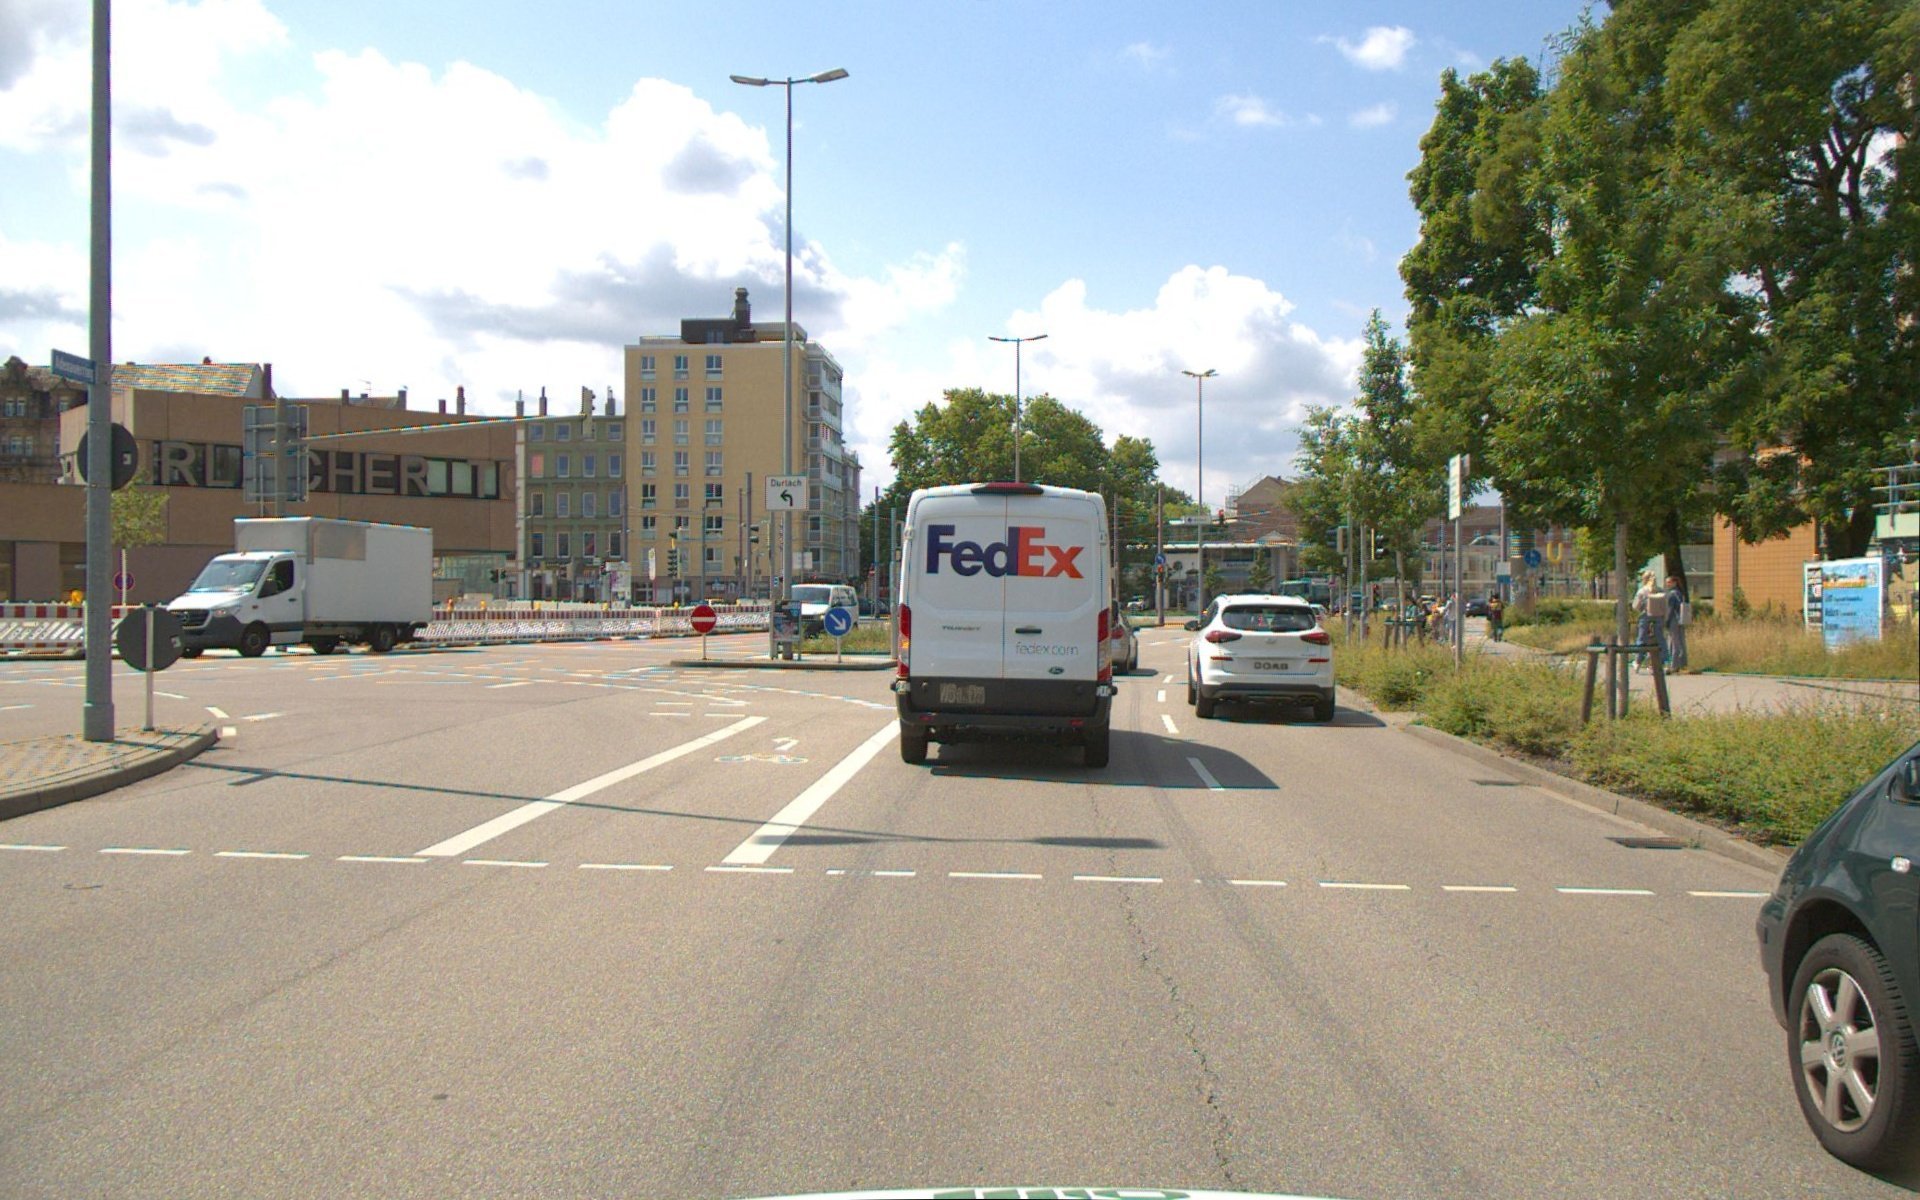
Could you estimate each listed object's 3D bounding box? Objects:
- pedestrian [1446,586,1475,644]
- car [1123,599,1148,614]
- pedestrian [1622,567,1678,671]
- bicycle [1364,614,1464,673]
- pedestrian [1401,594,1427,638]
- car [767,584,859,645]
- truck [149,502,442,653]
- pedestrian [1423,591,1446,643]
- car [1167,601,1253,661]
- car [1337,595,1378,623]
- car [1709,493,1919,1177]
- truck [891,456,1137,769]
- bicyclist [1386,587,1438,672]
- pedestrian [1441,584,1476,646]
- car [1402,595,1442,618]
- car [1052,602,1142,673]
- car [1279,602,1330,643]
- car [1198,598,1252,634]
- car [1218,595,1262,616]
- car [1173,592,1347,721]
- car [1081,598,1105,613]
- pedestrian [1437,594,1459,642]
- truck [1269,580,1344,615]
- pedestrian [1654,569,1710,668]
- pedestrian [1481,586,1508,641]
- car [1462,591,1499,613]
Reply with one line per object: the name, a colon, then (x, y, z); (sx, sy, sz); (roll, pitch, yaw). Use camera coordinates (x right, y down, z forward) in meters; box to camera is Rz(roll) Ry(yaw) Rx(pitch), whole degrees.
pedestrian: (16.185, 0.482, 53.492); (0.740, 1.853, 0.638); (1, -1, 4)
car: (20.013, 0.714, 188.312); (1.952, 1.601, 4.180); (1, -1, 18)
pedestrian: (12.493, 0.337, 29.954); (0.734, 1.834, 0.610); (-1, 0, 3)
bicycle: (8.957, 0.862, 32.661); (1.772, 1.068, 0.592); (-3, -2, 3)
pedestrian: (16.864, 0.598, 61.416); (0.740, 1.617, 0.761); (1, -1, -2)
car: (-4.779, 0.447, 54.327); (1.841, 1.927, 4.874); (0, 0, 9)
truck: (-14.947, -0.403, 37.918); (1.952, 3.121, 7.333); (1, -1, 17)
pedestrian: (15.373, 0.561, 53.584); (0.575, 1.654, 0.728); (1, -1, 4)
car: (6.394, 0.768, 42.669); (1.875, 1.445, 3.920); (0, 0, 4)
car: (24.722, 0.556, 102.826); (1.843, 1.670, 3.956); (0, 0, 23)
car: (3.377, 0.633, 3.176); (1.758, 1.753, 4.447); (2, 0, -1)
truck: (0.506, 0.123, 17.349); (2.093, 2.686, 5.917); (1, 0, 1)
bicyclist: (8.926, 0.576, 32.669); (0.810, 1.629, 0.580); (-3, -2, 3)
pedestrian: (15.260, 0.460, 50.637); (0.741, 1.853, 0.780); (-3, -1, -2)
car: (33.154, 0.447, 118.678); (1.847, 1.670, 3.948); (0, 0, 31)
car: (3.039, 0.774, 36.144); (1.704, 1.416, 4.183); (0, 0, 8)
car: (14.875, 0.954, 71.329); (1.841, 1.670, 3.959); (0, 0, 16)
car: (13.154, 0.769, 81.770); (1.888, 1.670, 4.794); (0, 0, 19)
car: (24.524, 0.455, 144.682); (1.692, 1.832, 4.715); (-1, -1, 40)
car: (4.157, 0.725, 23.533); (1.842, 1.670, 4.234); (0, 0, 2)
car: (15.305, 0.632, 190.200); (1.952, 1.601, 4.180); (1, -1, 18)
pedestrian: (16.982, 0.628, 57.528); (0.637, 1.654, 0.774); (-3, -2, 20)
truck: (30.362, -0.222, 144.475); (2.839, 2.902, 8.751); (0, 0, 38)
pedestrian: (13.282, 0.329, 30.427); (0.734, 1.783, 0.610); (-1, 0, 3)
pedestrian: (18.414, 0.471, 56.953); (0.740, 1.853, 0.674); (1, -1, 6)
car: (39.538, 0.160, 125.626); (1.847, 1.670, 3.948); (0, 0, 31)
